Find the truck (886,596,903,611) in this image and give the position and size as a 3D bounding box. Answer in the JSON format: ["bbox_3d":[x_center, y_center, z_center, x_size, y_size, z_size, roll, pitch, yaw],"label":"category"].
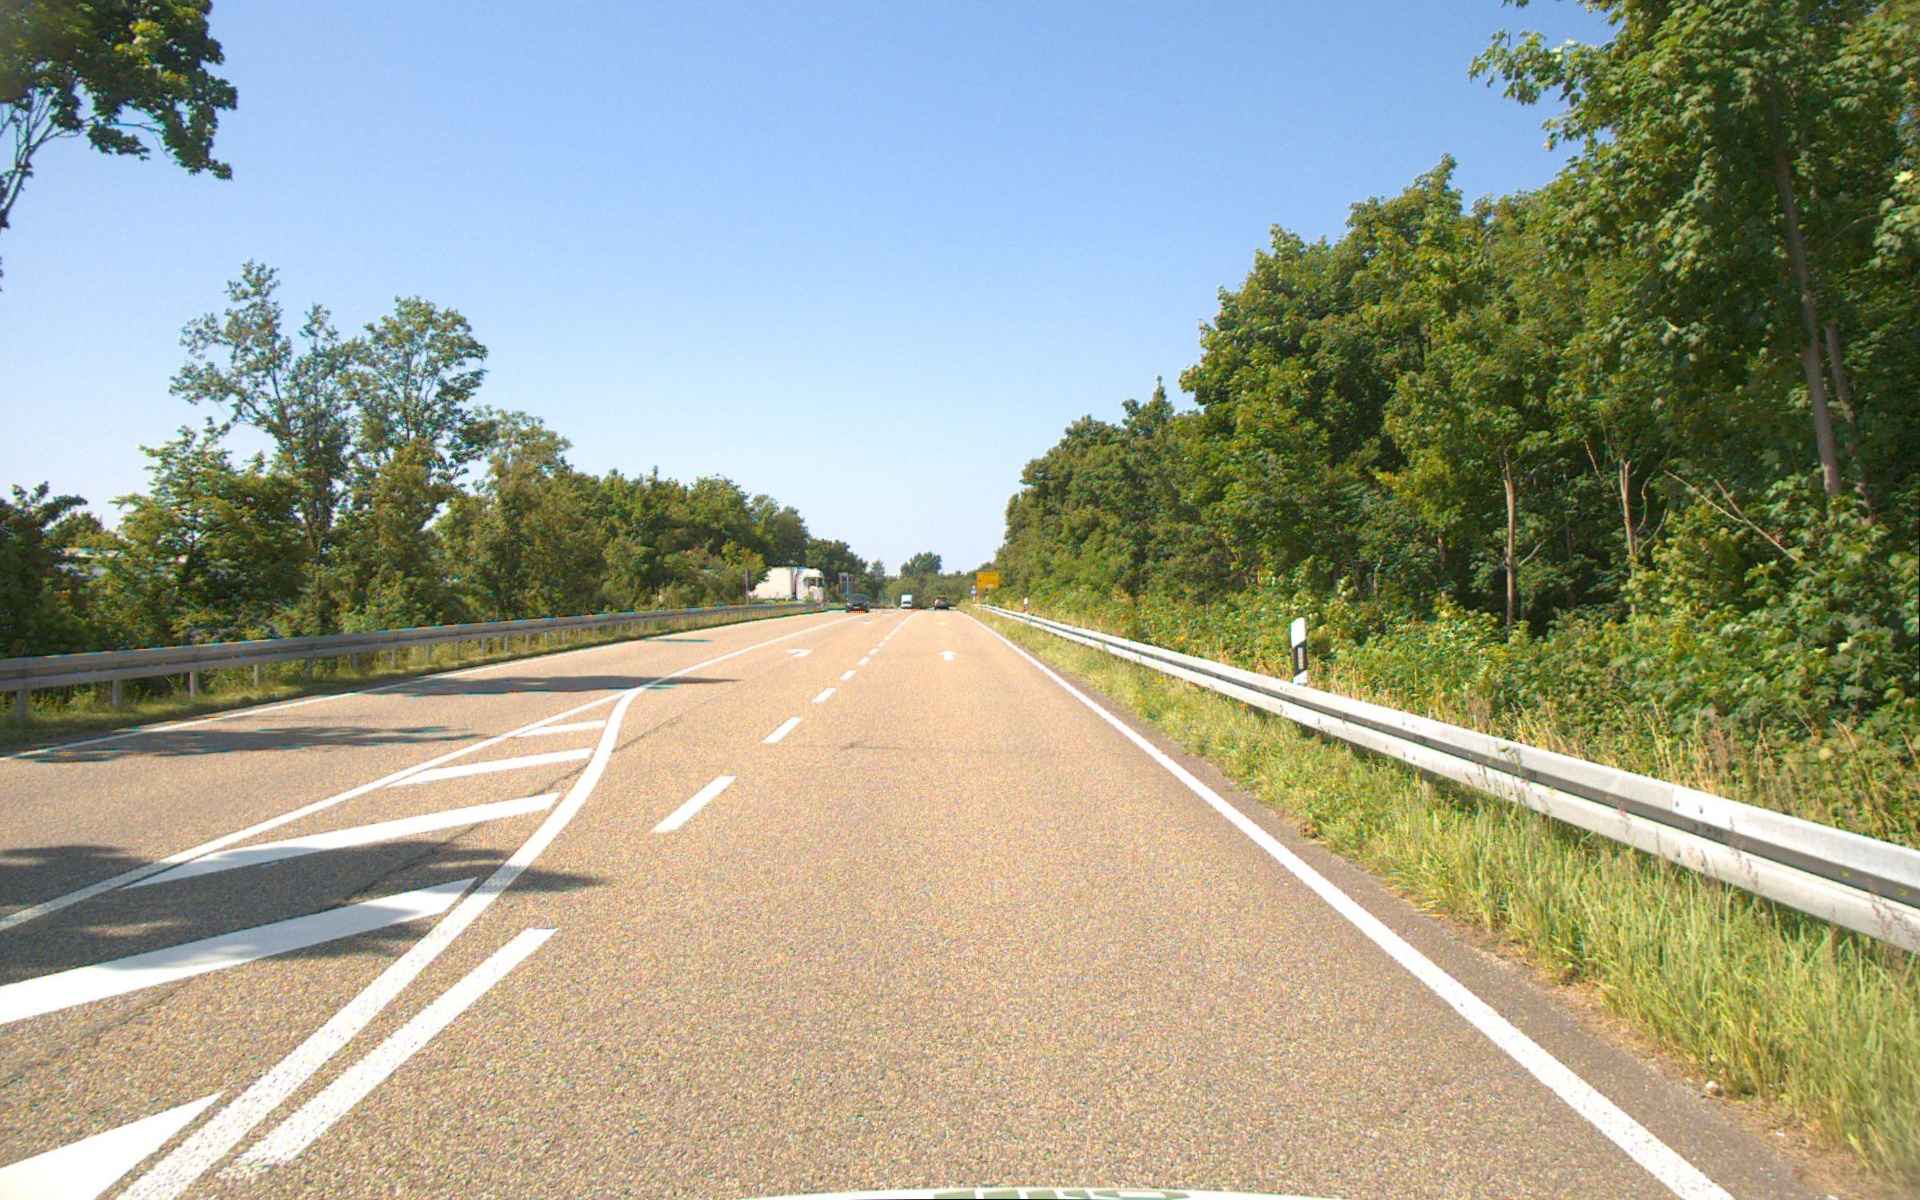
[{"bbox_3d":[-6.710,0.389,170.054,1.579,1.496,3.990,0,0,-1],"label":"truck"}]

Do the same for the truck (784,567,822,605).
[{"bbox_3d":[-14.961,-1.298,158.094,3.394,3.599,2.000,0,0,1],"label":"truck"}]

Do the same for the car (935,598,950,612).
[{"bbox_3d":[-2.047,0.545,190.201,1.706,1.496,3.692,0,0,-1],"label":"car"}]

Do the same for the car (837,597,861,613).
[{"bbox_3d":[-9.068,0.403,135.353,1.695,1.289,3.904,0,0,-1],"label":"car"}]

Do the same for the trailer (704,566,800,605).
[{"bbox_3d":[-19.853,-1.345,158.150,8.914,3.641,2.000,0,0,1],"label":"trailer"}]
